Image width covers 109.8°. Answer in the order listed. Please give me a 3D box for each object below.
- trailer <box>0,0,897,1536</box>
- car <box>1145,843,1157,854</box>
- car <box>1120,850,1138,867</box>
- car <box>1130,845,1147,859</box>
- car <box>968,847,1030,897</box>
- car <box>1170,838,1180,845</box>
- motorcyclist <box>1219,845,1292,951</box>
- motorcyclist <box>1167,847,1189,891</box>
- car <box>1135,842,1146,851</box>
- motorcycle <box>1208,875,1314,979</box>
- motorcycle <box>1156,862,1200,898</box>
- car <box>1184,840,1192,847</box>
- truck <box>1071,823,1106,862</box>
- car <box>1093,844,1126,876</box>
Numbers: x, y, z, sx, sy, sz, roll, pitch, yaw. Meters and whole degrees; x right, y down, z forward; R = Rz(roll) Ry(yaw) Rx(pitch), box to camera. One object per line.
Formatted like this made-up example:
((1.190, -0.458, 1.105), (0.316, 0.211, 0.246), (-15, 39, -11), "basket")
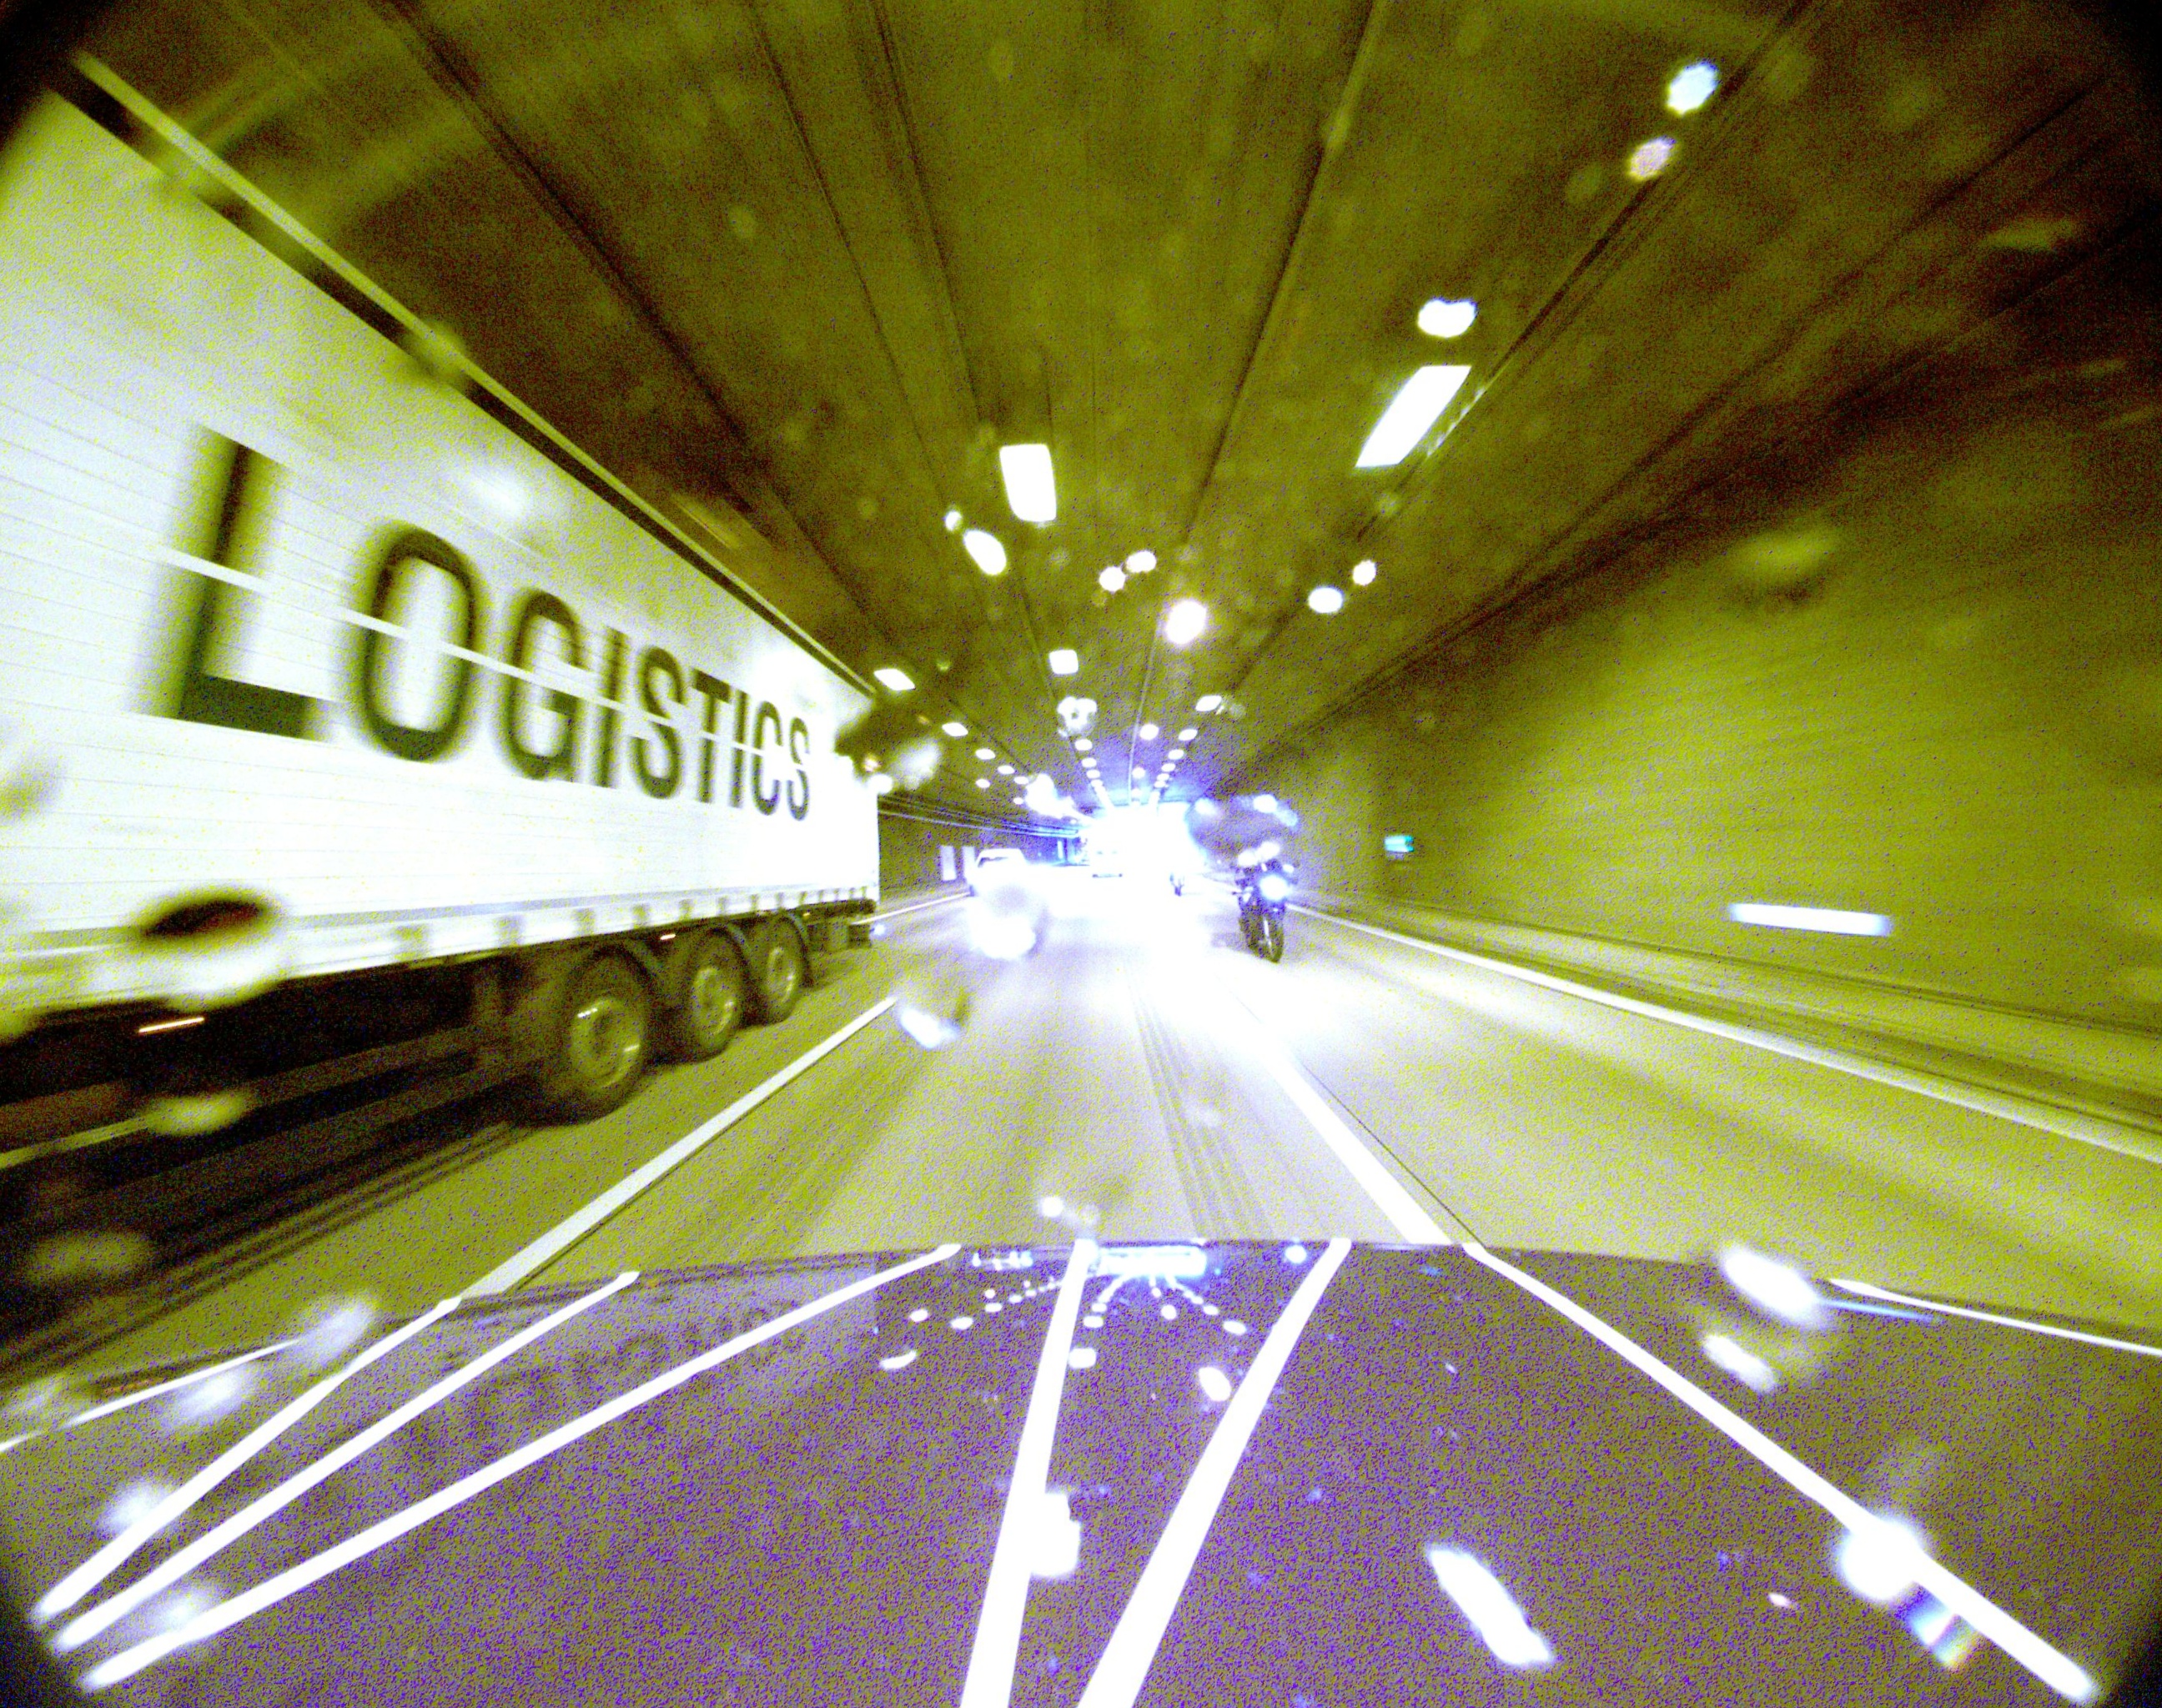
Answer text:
((-4.067, -0.317, 3.486), (2.627, 4.139, 14.001), (-3, 0, 1), "trailer")
((12.240, -0.946, 133.520), (1.998, 1.788, 4.001), (-2, 1, 5), "car")
((5.552, 0.514, 87.437), (1.998, 1.788, 4.001), (-2, 1, 4), "car")
((7.644, -0.309, 100.894), (1.997, 1.788, 4.002), (-2, 1, 8), "car")
((-3.265, 0.674, 31.165), (1.839, 1.849, 4.288), (-2, 0, 2), "car")
((23.515, -3.157, 189.893), (1.997, 1.788, 4.002), (-2, 1, 10), "car")
((2.512, 0.613, 11.045), (0.841, 1.469, 0.821), (-1, 0, 0), "motorcyclist")
((3.372, 0.501, 26.393), (0.628, 1.480, 0.890), (-1, 1, -1), "motorcyclist")
((12.125, -1.595, 154.769), (1.998, 1.788, 4.001), (-2, 1, 4), "car")
((2.526, 0.974, 11.033), (0.848, 1.238, 2.604), (-2, 0, -1), "motorcycle")
((3.362, 0.883, 26.581), (1.056, 1.150, 2.426), (-1, 0, -4), "motorcycle")
((29.305, -2.791, 207.700), (1.997, 1.788, 4.002), (-2, 1, 10), "car")
((0.883, -1.236, 82.652), (2.900, 3.819, 8.999), (-2, 1, 5), "truck")
((1.797, 0.345, 48.023), (1.998, 1.890, 4.000), (-1, 1, 2), "car")
